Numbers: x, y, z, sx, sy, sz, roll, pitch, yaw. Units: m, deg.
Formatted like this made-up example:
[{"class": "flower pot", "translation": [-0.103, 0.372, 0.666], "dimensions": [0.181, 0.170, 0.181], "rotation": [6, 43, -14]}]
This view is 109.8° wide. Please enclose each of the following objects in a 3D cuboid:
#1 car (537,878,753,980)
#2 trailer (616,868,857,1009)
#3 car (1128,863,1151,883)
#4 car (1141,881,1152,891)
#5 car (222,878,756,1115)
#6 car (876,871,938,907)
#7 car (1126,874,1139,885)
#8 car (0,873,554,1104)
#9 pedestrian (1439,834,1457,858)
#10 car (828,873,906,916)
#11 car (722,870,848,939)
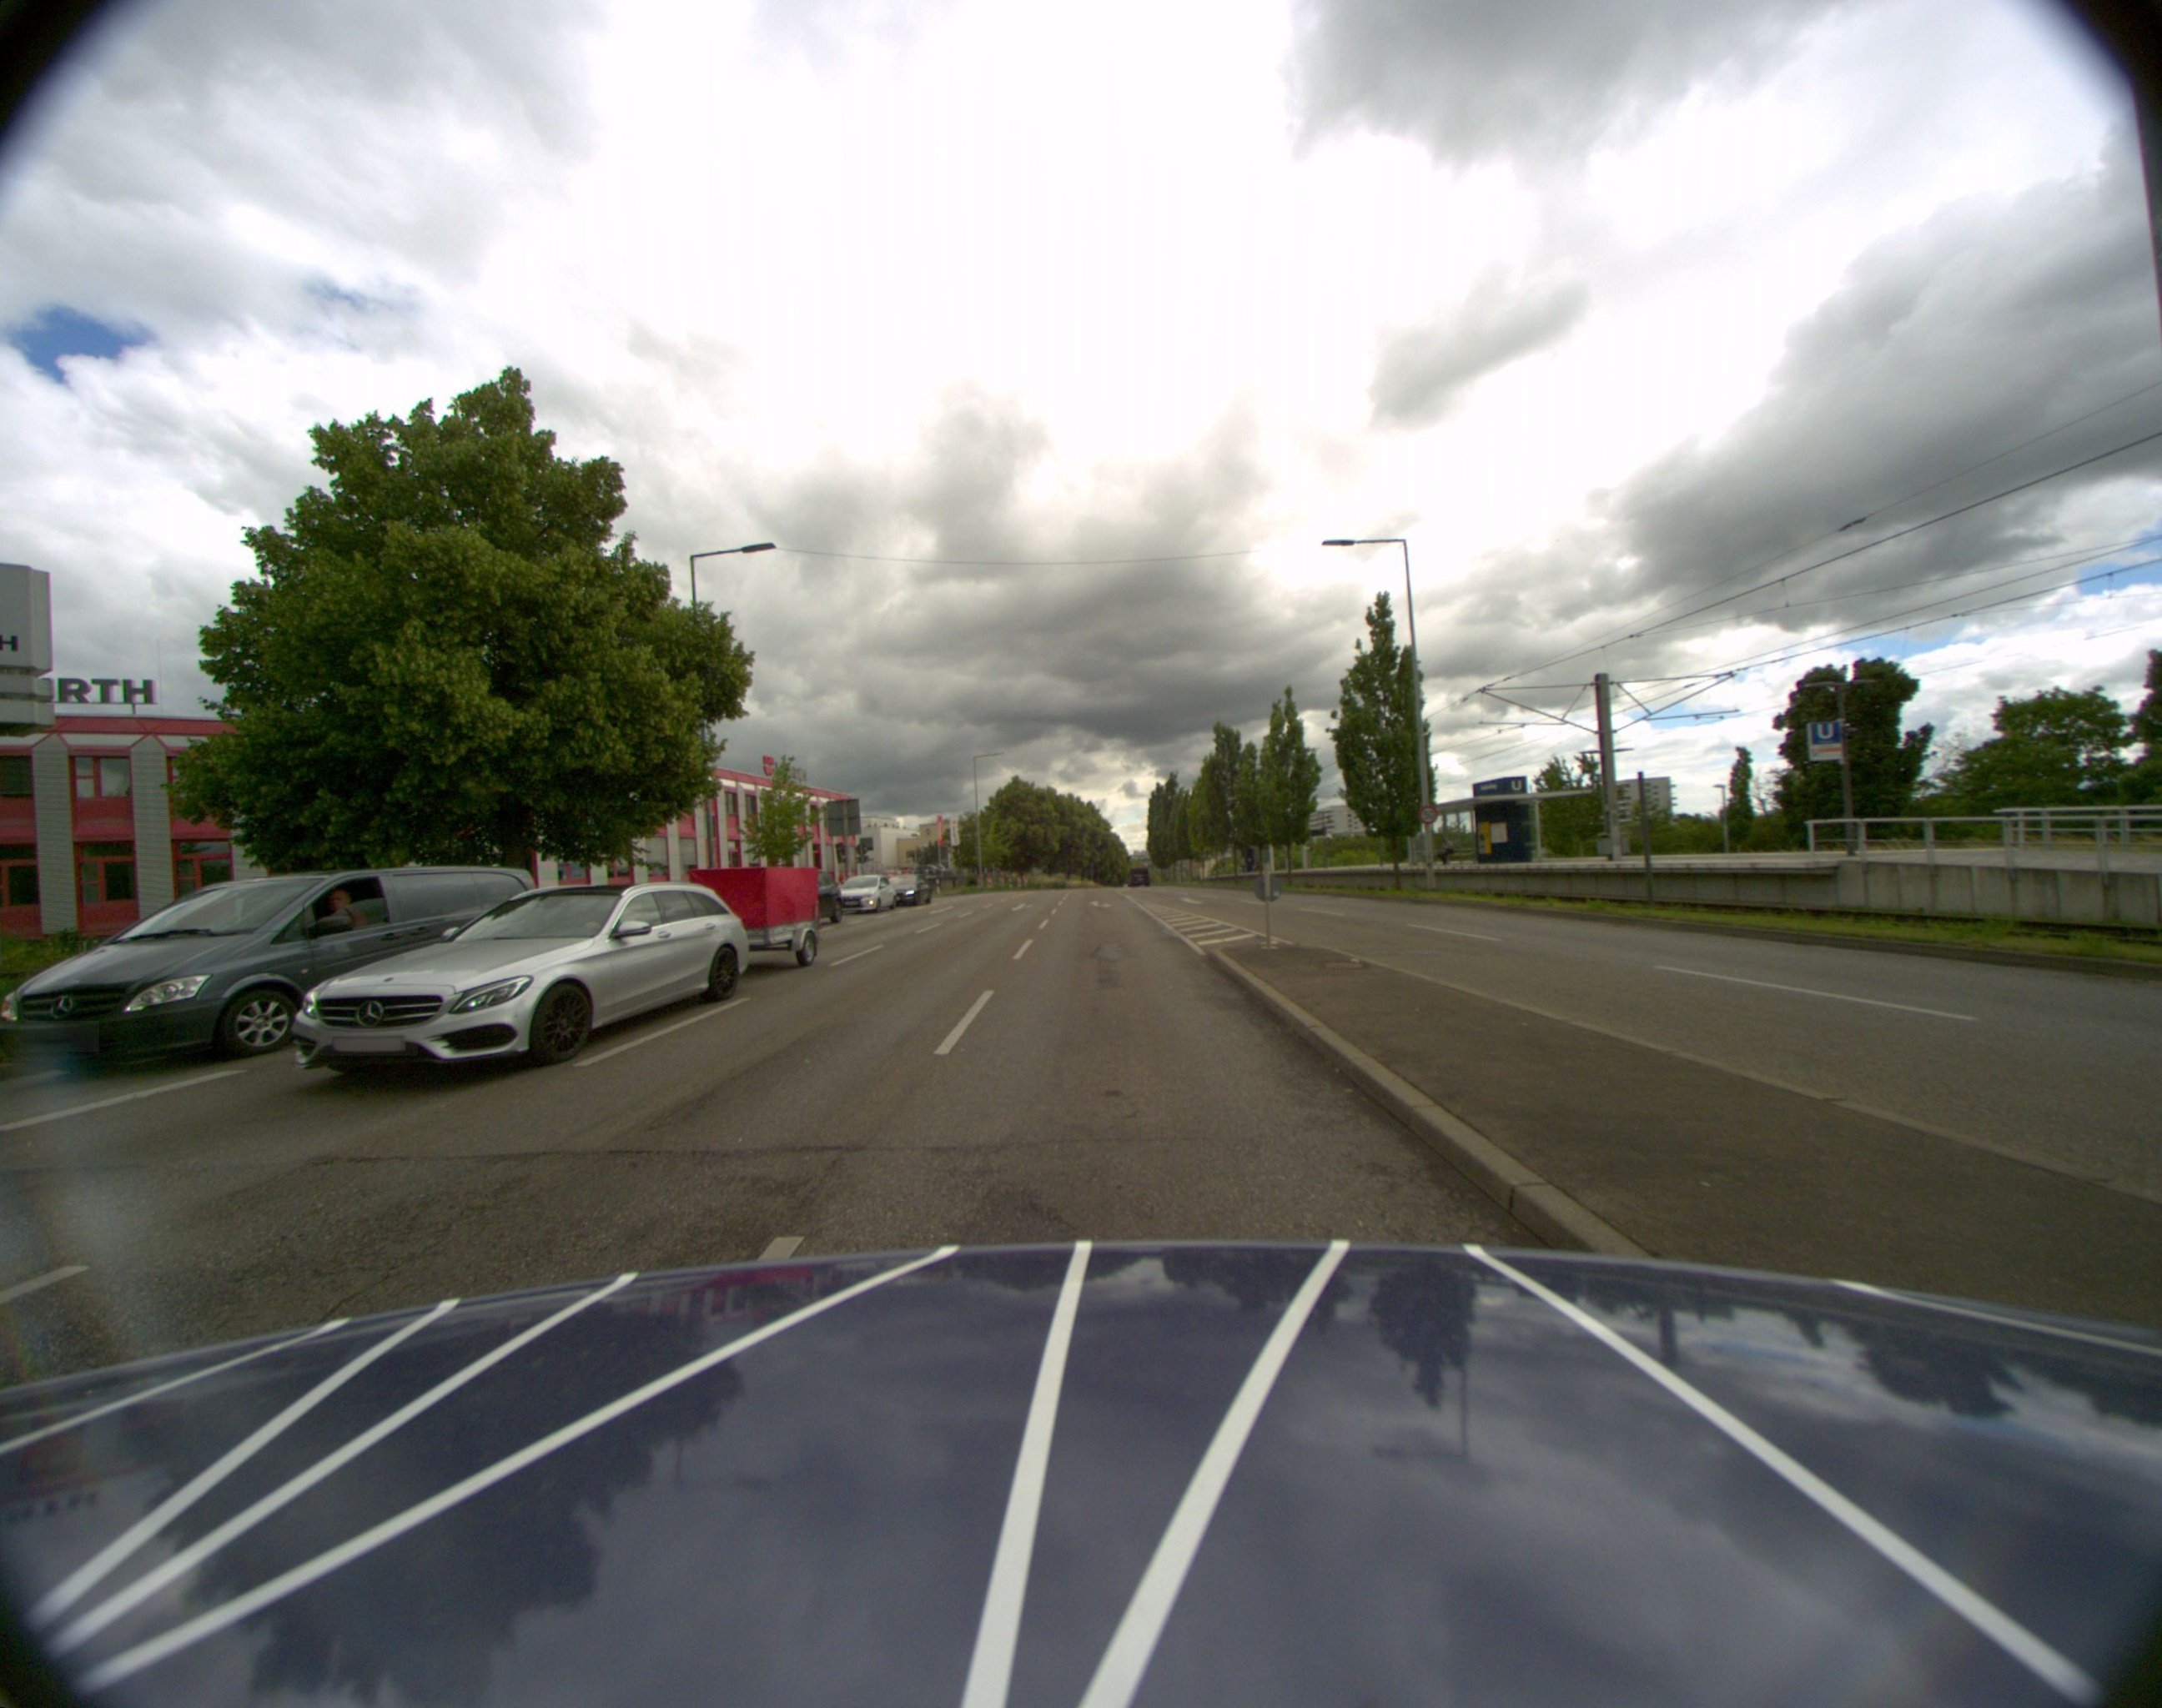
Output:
[{"class": "car", "translation": [-8.598, 1.389, 15.482], "dimensions": [1.844, 1.507, 4.106], "rotation": [-6, 0, 1]}, {"class": "trailer", "translation": [-5.055, 1.133, 11.849], "dimensions": [1.775, 1.650, 3.996], "rotation": [-2, 1, 1]}, {"class": "car", "translation": [5.618, 1.765, 73.446], "dimensions": [1.892, 1.802, 5.093], "rotation": [-2, -1, 1]}, {"class": "car", "translation": [11.724, 5.815, 136.541], "dimensions": [1.760, 1.519, 3.601], "rotation": [-2, 1, 3]}, {"class": "car", "translation": [-5.170, 1.089, 7.625], "dimensions": [1.775, 1.442, 4.401], "rotation": [-2, 1, 1]}, {"class": "car", "translation": [-7.981, 1.567, 35.154], "dimensions": [1.763, 1.431, 4.370], "rotation": [-3, 0, 0]}, {"class": "car", "translation": [7.634, 3.721, 112.825], "dimensions": [1.740, 1.499, 3.660], "rotation": [-2, 0, 1]}, {"class": "car", "translation": [-8.777, 1.233, 8.848], "dimensions": [1.763, 1.764, 4.675], "rotation": [-5, 0, 2]}, {"class": "pedestrian", "translation": [17.729, -0.402, 36.725], "dimensions": [0.601, 1.148, 0.447], "rotation": [-2, 1, 1]}, {"class": "car", "translation": [-8.436, 1.561, 30.345], "dimensions": [1.763, 1.431, 4.370], "rotation": [-3, 0, 0]}, {"class": "car", "translation": [-8.450, 1.379, 22.156], "dimensions": [1.865, 1.648, 4.209], "rotation": [-4, -1, 1]}]
